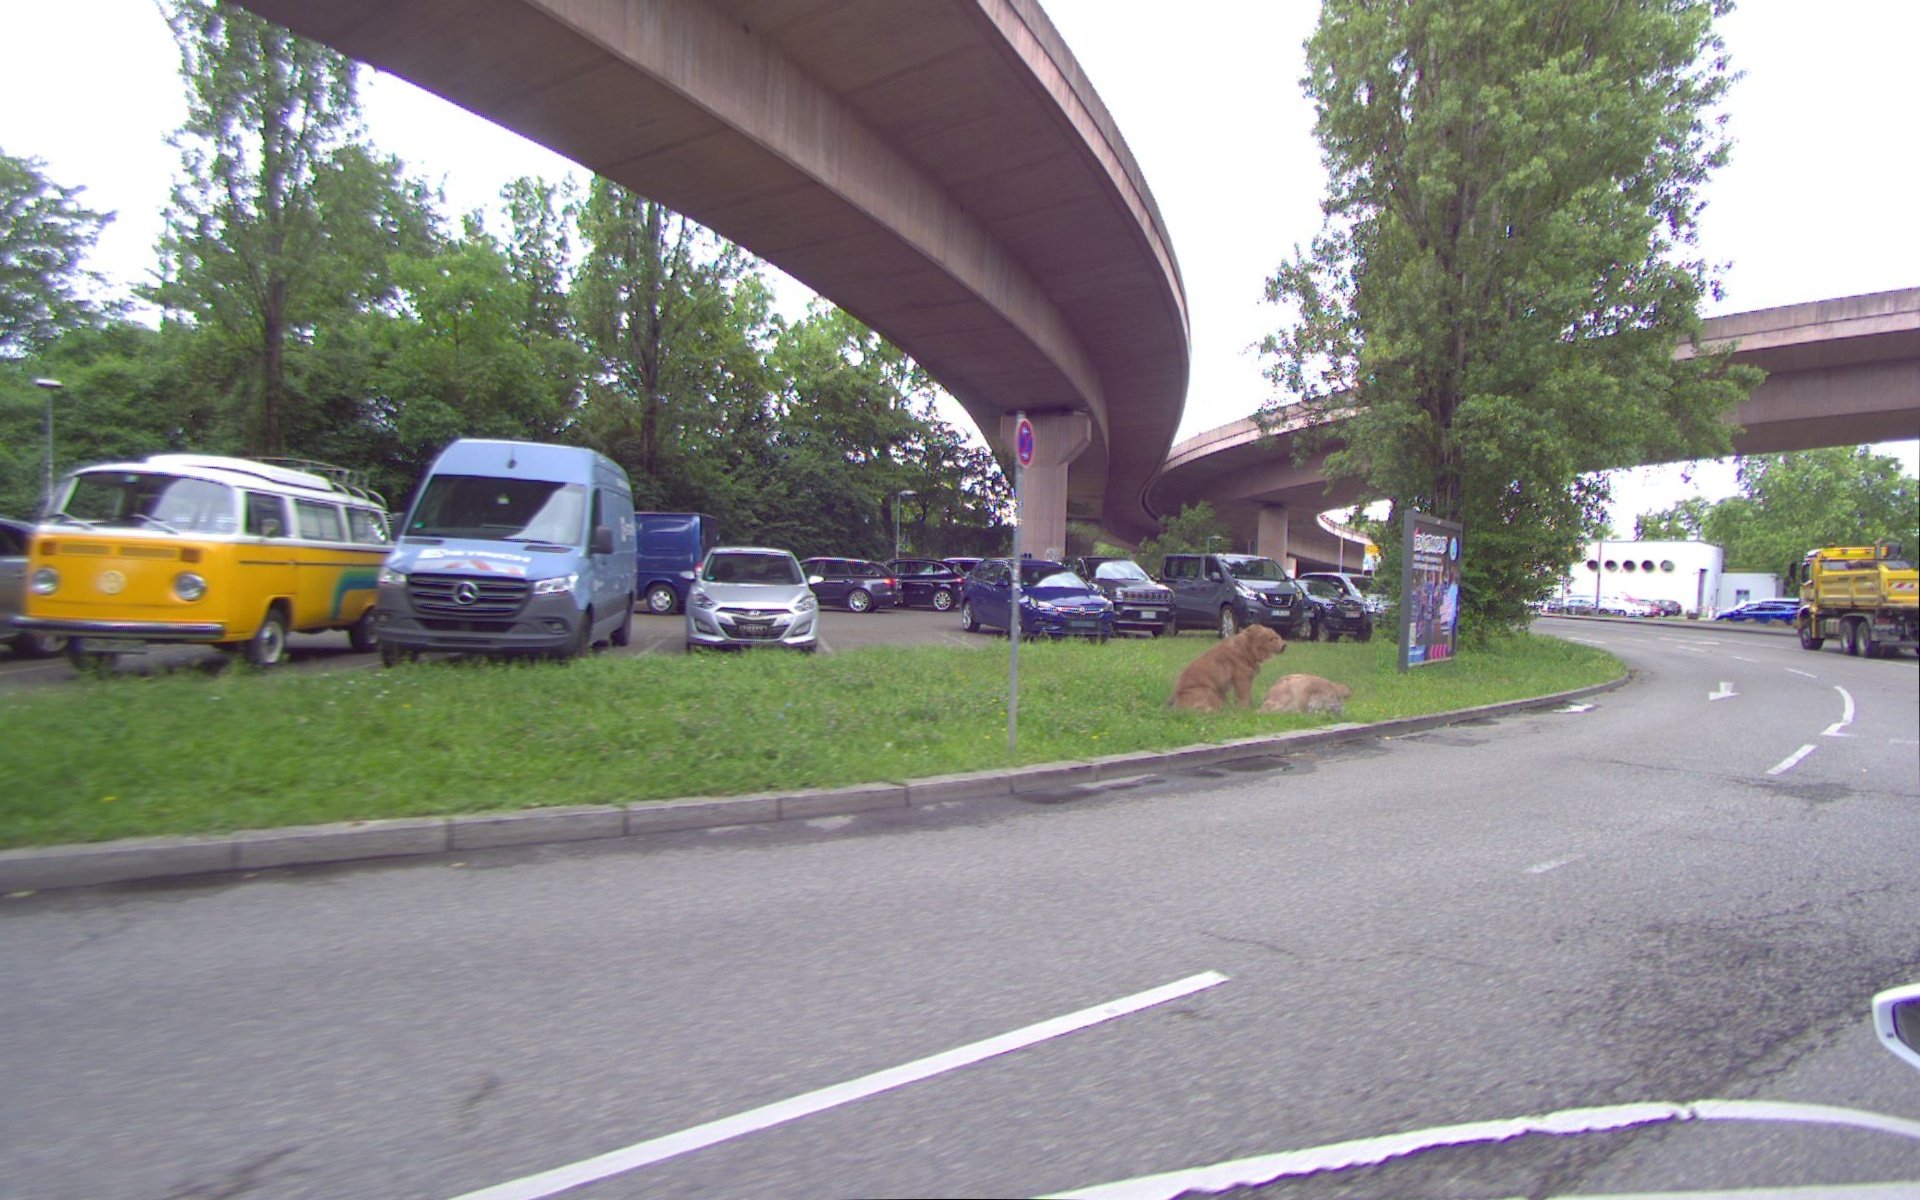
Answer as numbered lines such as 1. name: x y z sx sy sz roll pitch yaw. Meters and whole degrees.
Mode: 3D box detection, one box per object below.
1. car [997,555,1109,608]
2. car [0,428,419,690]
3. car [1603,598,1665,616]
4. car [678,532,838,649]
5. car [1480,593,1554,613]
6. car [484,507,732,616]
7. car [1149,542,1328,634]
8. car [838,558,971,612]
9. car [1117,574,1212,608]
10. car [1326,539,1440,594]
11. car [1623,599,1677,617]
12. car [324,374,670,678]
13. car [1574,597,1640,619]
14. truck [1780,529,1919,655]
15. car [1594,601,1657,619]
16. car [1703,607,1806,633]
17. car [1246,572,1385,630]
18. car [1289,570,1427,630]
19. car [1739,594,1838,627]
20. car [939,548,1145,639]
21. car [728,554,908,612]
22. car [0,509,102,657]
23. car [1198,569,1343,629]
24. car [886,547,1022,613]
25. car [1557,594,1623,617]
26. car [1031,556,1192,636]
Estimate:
1. car: 3.504 -0.727 38.202 4.003 1.735 1.657 4 3 -1
2. car: -7.525 -0.395 10.640 1.818 2.139 4.561 1 2 -10
3. car: 56.733 0.574 84.607 1.984 1.461 3.952 2 -1 -41
4. car: -3.067 -0.108 14.846 1.966 1.434 4.280 1 0 -14
5. car: 44.591 0.242 80.461 1.984 1.461 4.779 2 -1 -41
6. car: -8.005 -0.841 23.209 4.918 2.284 2.125 1 0 2
7. car: 7.121 -0.296 26.389 2.222 2.099 5.090 3 0 -15
8. car: -1.638 -0.439 30.615 3.809 1.494 1.794 1 0 4
9. car: 8.664 -0.387 42.680 3.628 1.373 1.656 0 0 -18
10. car: 16.986 -1.322 40.590 1.966 2.041 4.436 1 1 -14
11. car: 60.501 0.709 88.117 1.622 1.461 3.668 2 -1 -41
12. car: -5.189 -0.758 12.461 2.325 2.762 6.183 1 2 -10
13. car: 50.265 0.632 78.025 1.985 1.661 3.950 2 -1 -42
14. truck: 29.134 -0.262 31.874 2.881 3.528 8.237 -1 0 25
15. car: 55.039 0.817 83.081 1.984 1.425 3.952 2 -1 -41
16. car: 47.617 1.183 60.292 1.972 1.461 4.433 2 -1 -23
17. car: 11.062 0.073 31.634 1.967 1.573 4.358 -1 -3 -16
18. car: 13.140 0.014 33.455 1.983 1.815 4.384 1 0 -17
19. car: 50.597 0.641 61.405 1.977 1.882 4.292 2 -1 -31
20. car: 1.384 -0.102 19.347 2.046 1.508 4.829 1 0 -21
21. car: -3.841 -0.441 27.648 4.552 1.454 2.001 1 -1 5
22. car: -9.828 -0.139 8.442 1.963 1.390 4.251 1 3 -8
23. car: 8.953 0.024 29.380 1.783 1.503 4.433 -1 -3 -18
24. car: -0.160 -0.617 33.045 4.215 1.824 1.848 -3 -1 5
25. car: 47.864 0.399 76.307 1.677 1.661 3.951 2 -1 -42
26. car: 3.146 -0.063 21.872 1.865 1.532 4.436 1 0 -15
